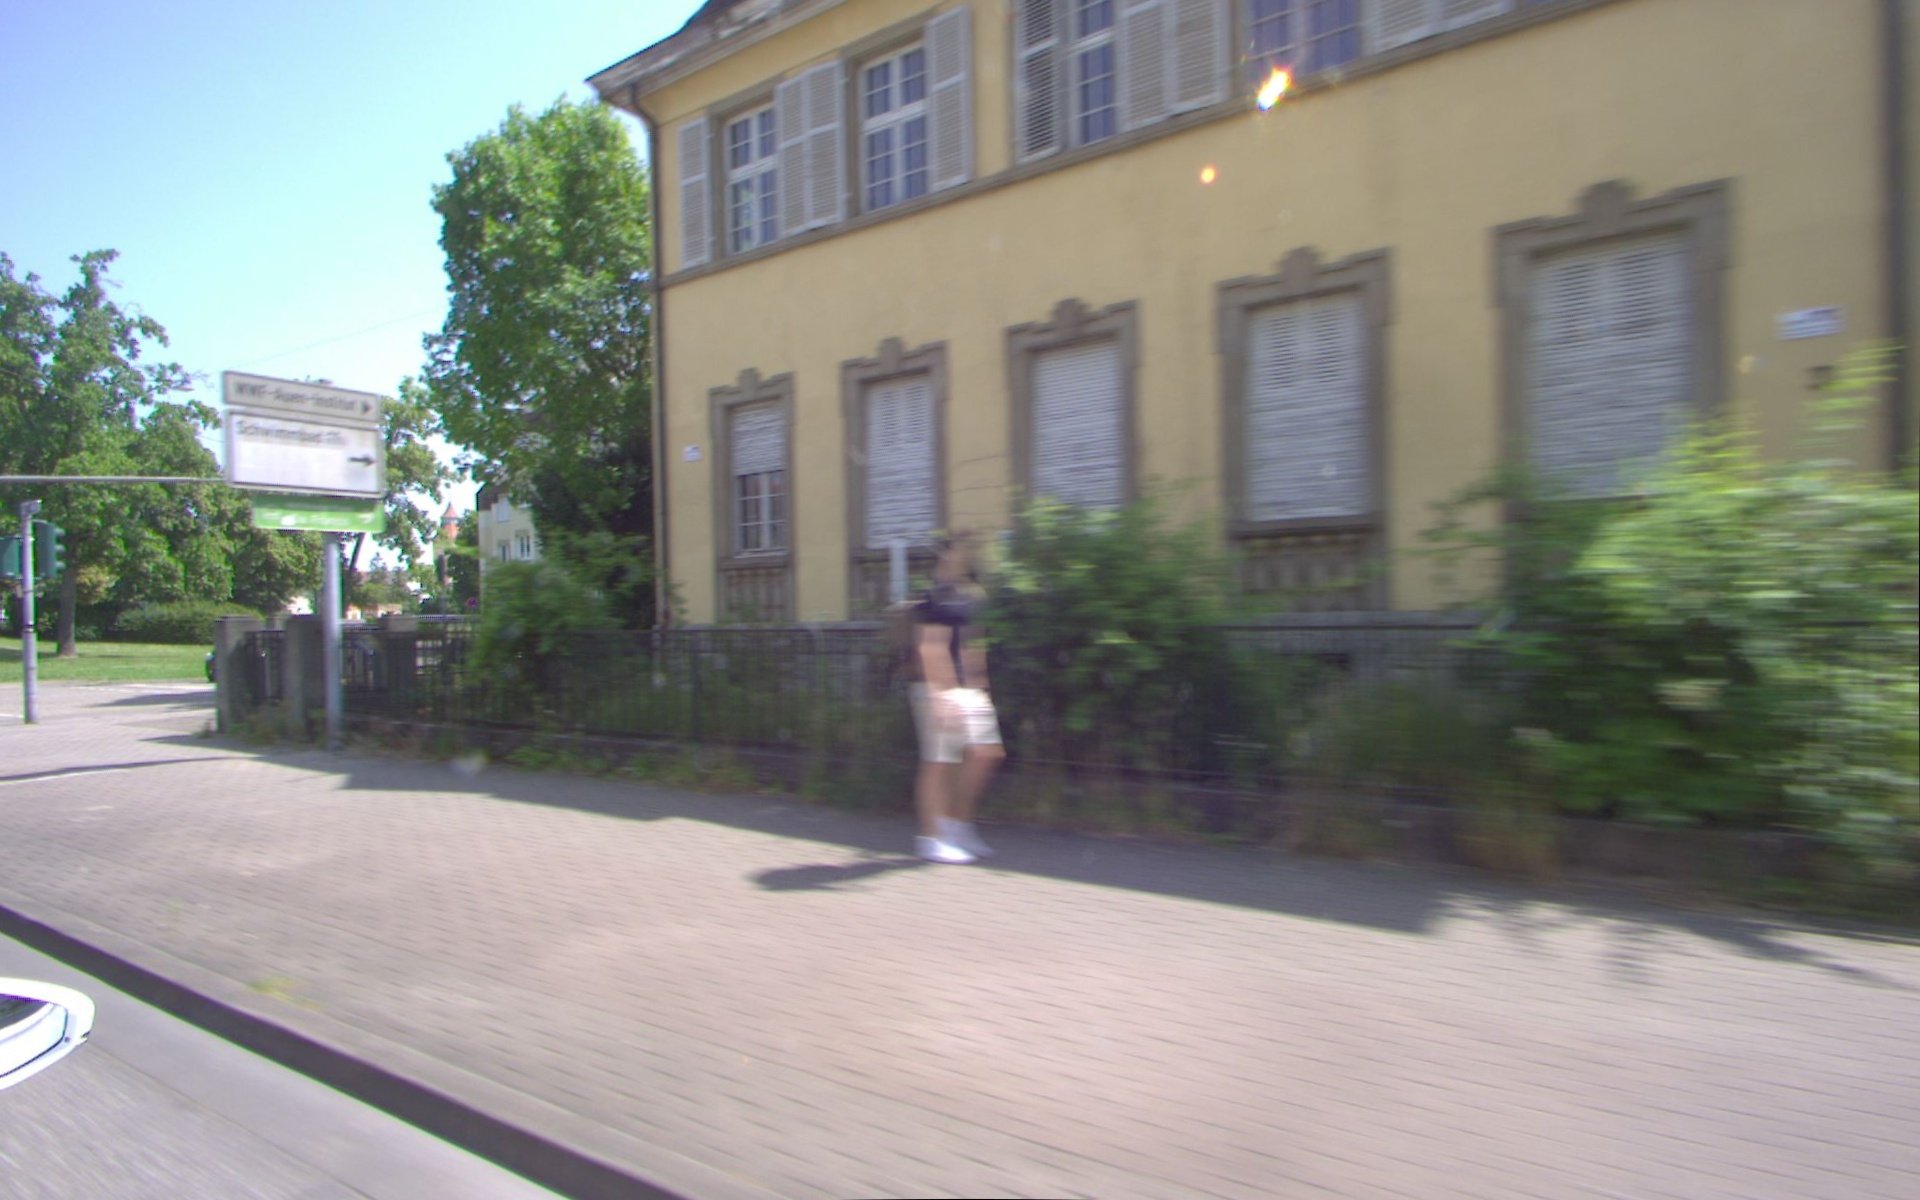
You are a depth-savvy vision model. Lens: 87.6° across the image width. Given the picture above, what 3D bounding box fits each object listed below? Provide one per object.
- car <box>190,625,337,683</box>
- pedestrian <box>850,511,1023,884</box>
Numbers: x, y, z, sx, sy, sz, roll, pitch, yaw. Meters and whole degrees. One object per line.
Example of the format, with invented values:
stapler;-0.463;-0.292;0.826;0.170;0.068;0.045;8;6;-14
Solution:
car;-21.885;1.673;31.733;1.881;1.653;4.818;-1;-2;-9
pedestrian;-0.127;0.516;5.674;0.733;1.944;0.618;-1;0;32
